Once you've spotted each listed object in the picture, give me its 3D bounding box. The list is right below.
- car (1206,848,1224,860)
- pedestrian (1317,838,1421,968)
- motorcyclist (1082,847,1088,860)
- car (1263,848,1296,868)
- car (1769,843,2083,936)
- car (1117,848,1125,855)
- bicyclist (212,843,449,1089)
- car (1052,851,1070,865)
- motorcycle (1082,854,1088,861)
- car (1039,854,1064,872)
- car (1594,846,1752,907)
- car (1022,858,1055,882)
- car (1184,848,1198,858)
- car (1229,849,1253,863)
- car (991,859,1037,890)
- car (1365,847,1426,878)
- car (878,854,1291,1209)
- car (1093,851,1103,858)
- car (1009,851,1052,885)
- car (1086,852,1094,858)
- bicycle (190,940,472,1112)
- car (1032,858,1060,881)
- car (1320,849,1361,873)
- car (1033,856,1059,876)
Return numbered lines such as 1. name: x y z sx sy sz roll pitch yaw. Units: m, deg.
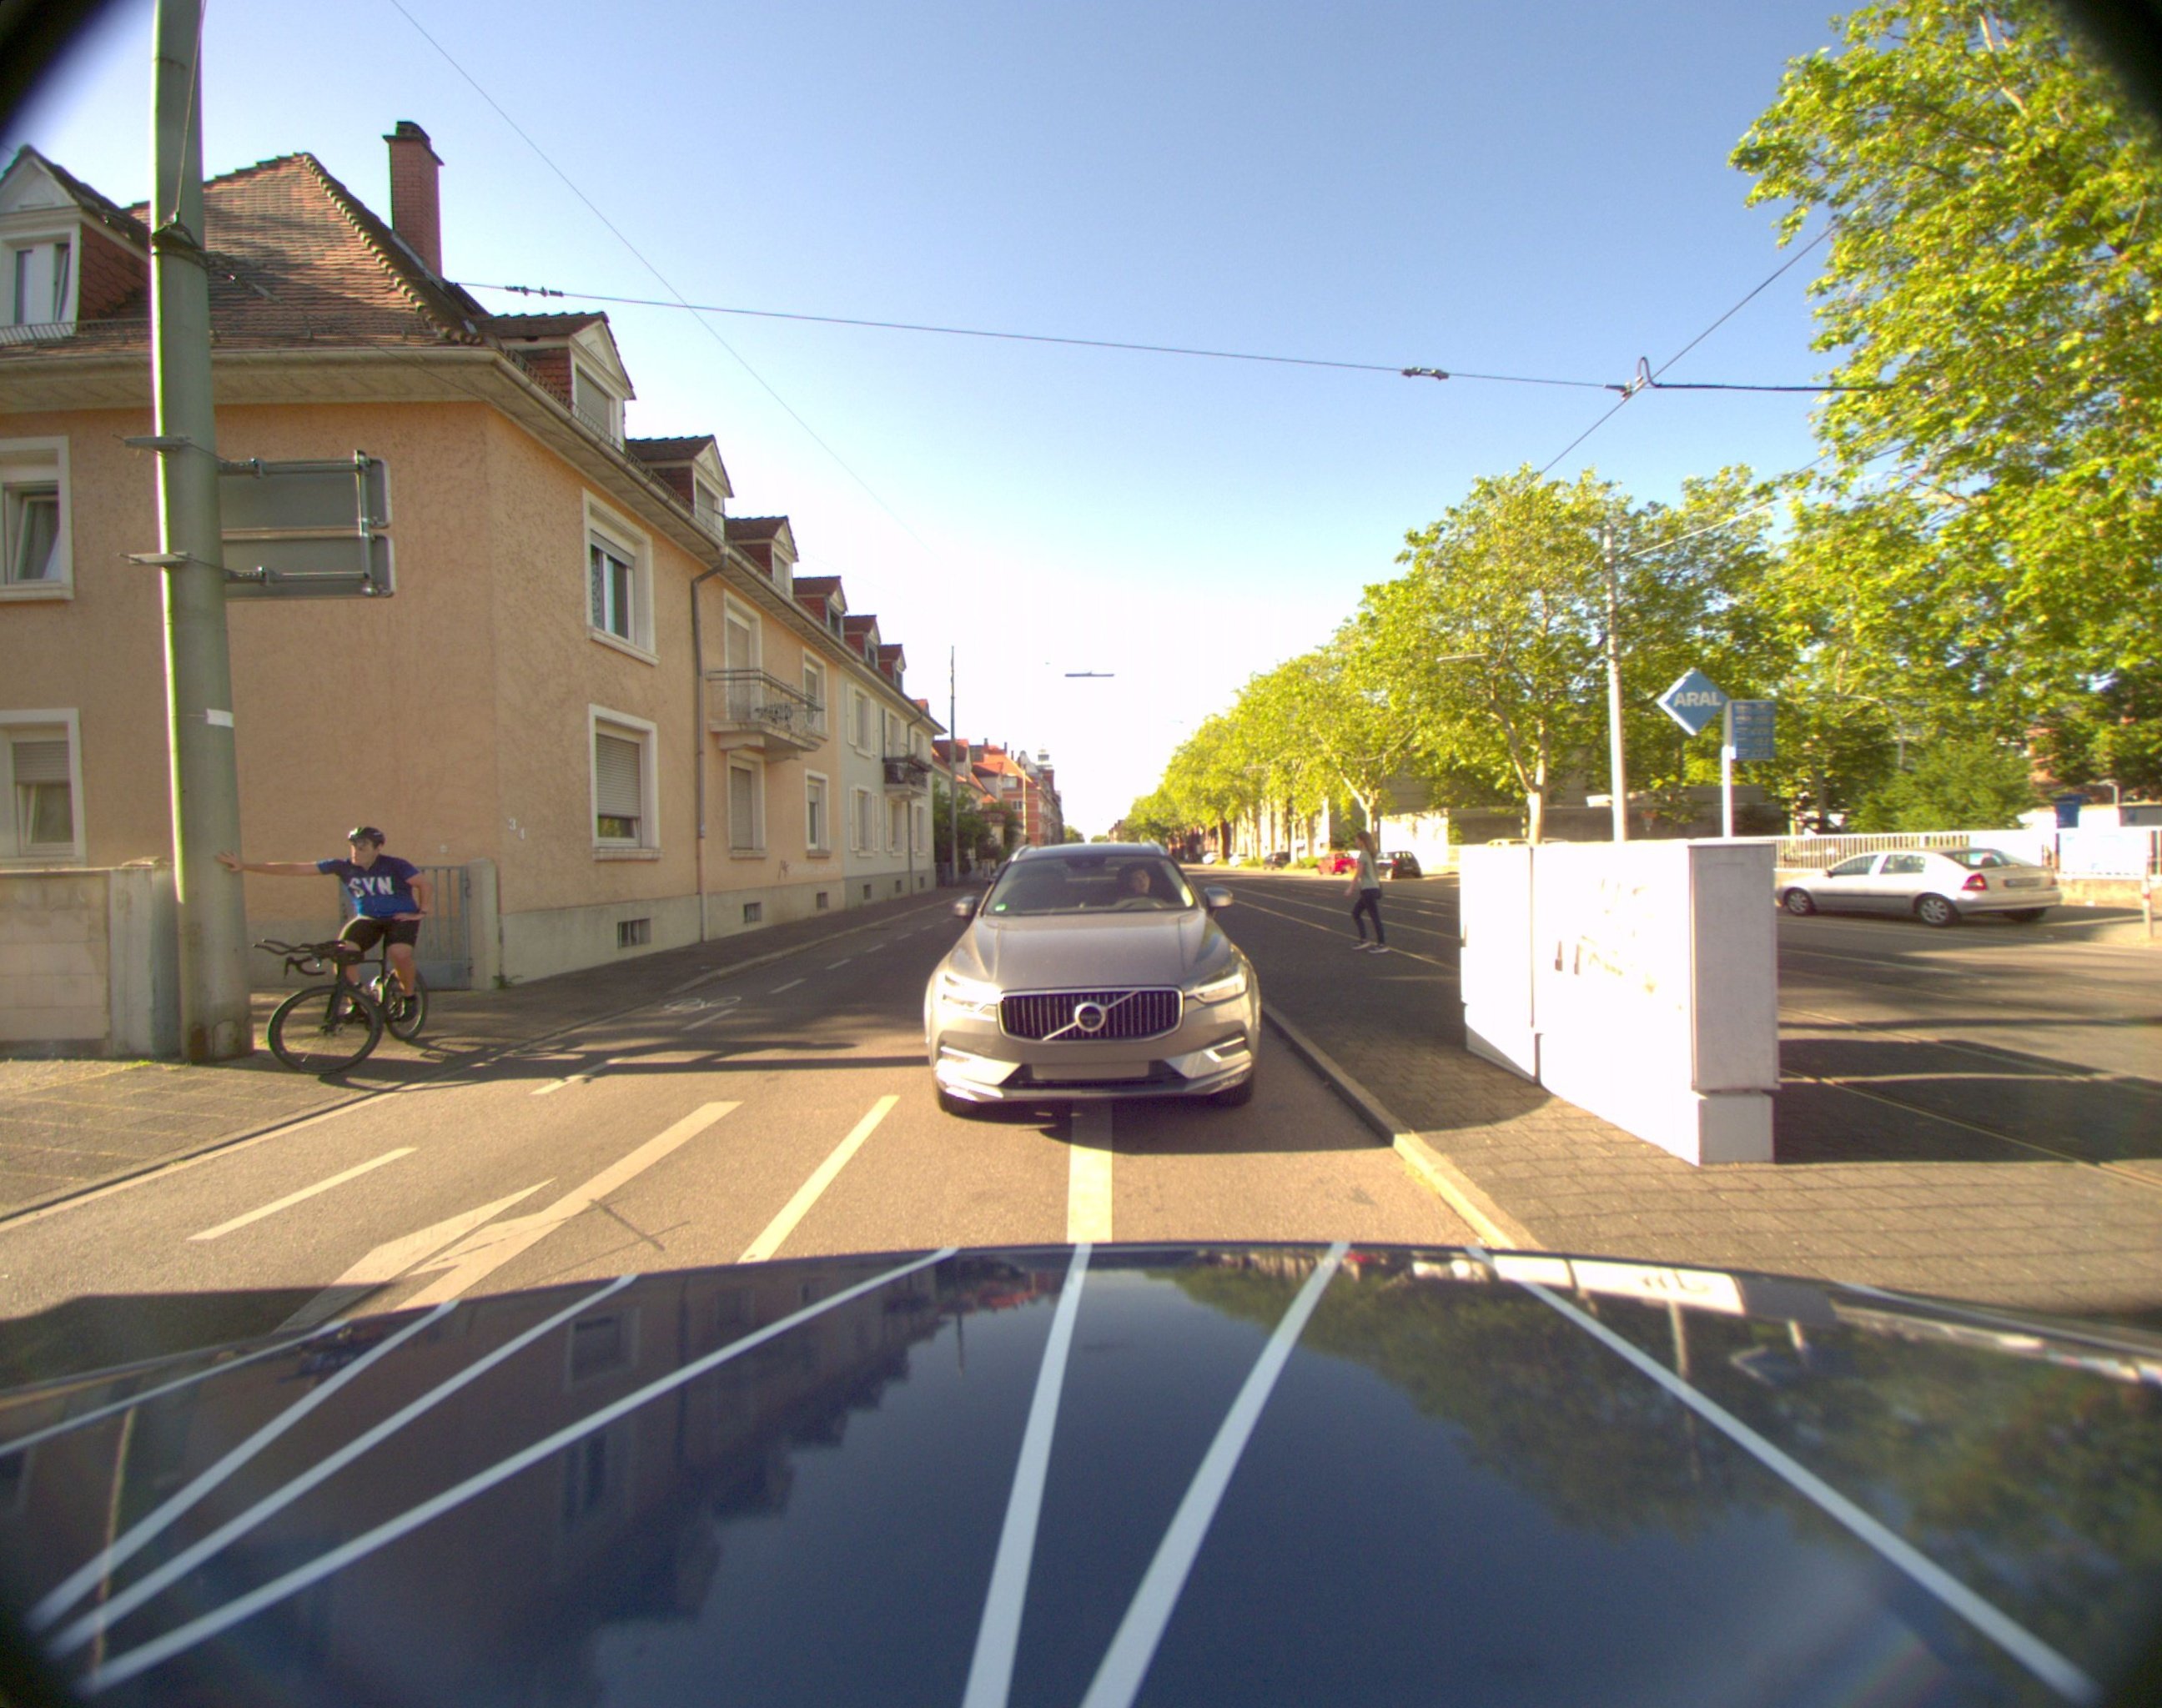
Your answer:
1. car: 17.732 -0.002 100.668 1.802 1.504 4.000 -1 0 1
2. pedestrian: 3.911 0.633 10.379 0.696 1.652 1.096 -3 1 -27
3. motorcyclist: 0.581 -0.036 108.590 0.827 1.832 1.159 -2 1 1
4. car: 17.195 0.293 66.038 1.802 1.652 4.000 -1 0 1
5. car: 16.248 0.600 14.987 1.795 1.455 3.966 -4 0 2
6. car: 10.598 -0.640 202.381 1.998 1.652 4.000 -1 0 1
7. bicyclist: -6.144 0.865 6.286 1.076 1.854 0.846 2 1 1
8. car: -2.205 0.458 85.487 1.875 1.477 4.000 -1 0 1
9. motorcycle: 0.602 0.482 108.549 0.792 1.095 2.519 0 0 1
10. car: -2.561 0.775 66.824 1.875 1.477 4.000 -1 0 1
11. car: 16.433 0.579 21.336 1.692 1.455 3.519 -4 0 2
12. car: -2.682 0.997 48.299 1.785 1.346 4.000 -1 0 1
13. car: 18.193 -0.210 125.625 1.802 1.504 4.000 -1 0 1
14. car: 17.545 0.229 83.423 1.802 1.489 4.000 -1 0 1
15. car: -3.209 0.970 37.021 1.647 1.357 3.868 -1 0 4
16. car: 16.884 0.427 40.976 1.826 1.521 3.653 -2 0 1
17. car: 0.045 0.854 5.797 1.940 1.650 4.321 -1 0 1
18. car: 3.681 0.133 165.103 1.998 1.543 4.000 -1 0 1
19. car: -2.787 0.721 42.880 1.751 1.767 5.351 -1 0 3
20. car: 2.374 0.192 201.299 1.998 1.543 4.000 -1 0 1
21. bicycle: -5.939 1.305 6.171 0.572 0.986 1.698 2 0 1
22. car: -2.466 1.091 54.435 1.785 1.468 4.000 -1 0 1
23. car: 16.944 0.440 49.746 1.641 1.499 3.046 -1 0 1
24. car: -2.751 0.952 60.671 1.785 1.468 4.000 -1 0 1
